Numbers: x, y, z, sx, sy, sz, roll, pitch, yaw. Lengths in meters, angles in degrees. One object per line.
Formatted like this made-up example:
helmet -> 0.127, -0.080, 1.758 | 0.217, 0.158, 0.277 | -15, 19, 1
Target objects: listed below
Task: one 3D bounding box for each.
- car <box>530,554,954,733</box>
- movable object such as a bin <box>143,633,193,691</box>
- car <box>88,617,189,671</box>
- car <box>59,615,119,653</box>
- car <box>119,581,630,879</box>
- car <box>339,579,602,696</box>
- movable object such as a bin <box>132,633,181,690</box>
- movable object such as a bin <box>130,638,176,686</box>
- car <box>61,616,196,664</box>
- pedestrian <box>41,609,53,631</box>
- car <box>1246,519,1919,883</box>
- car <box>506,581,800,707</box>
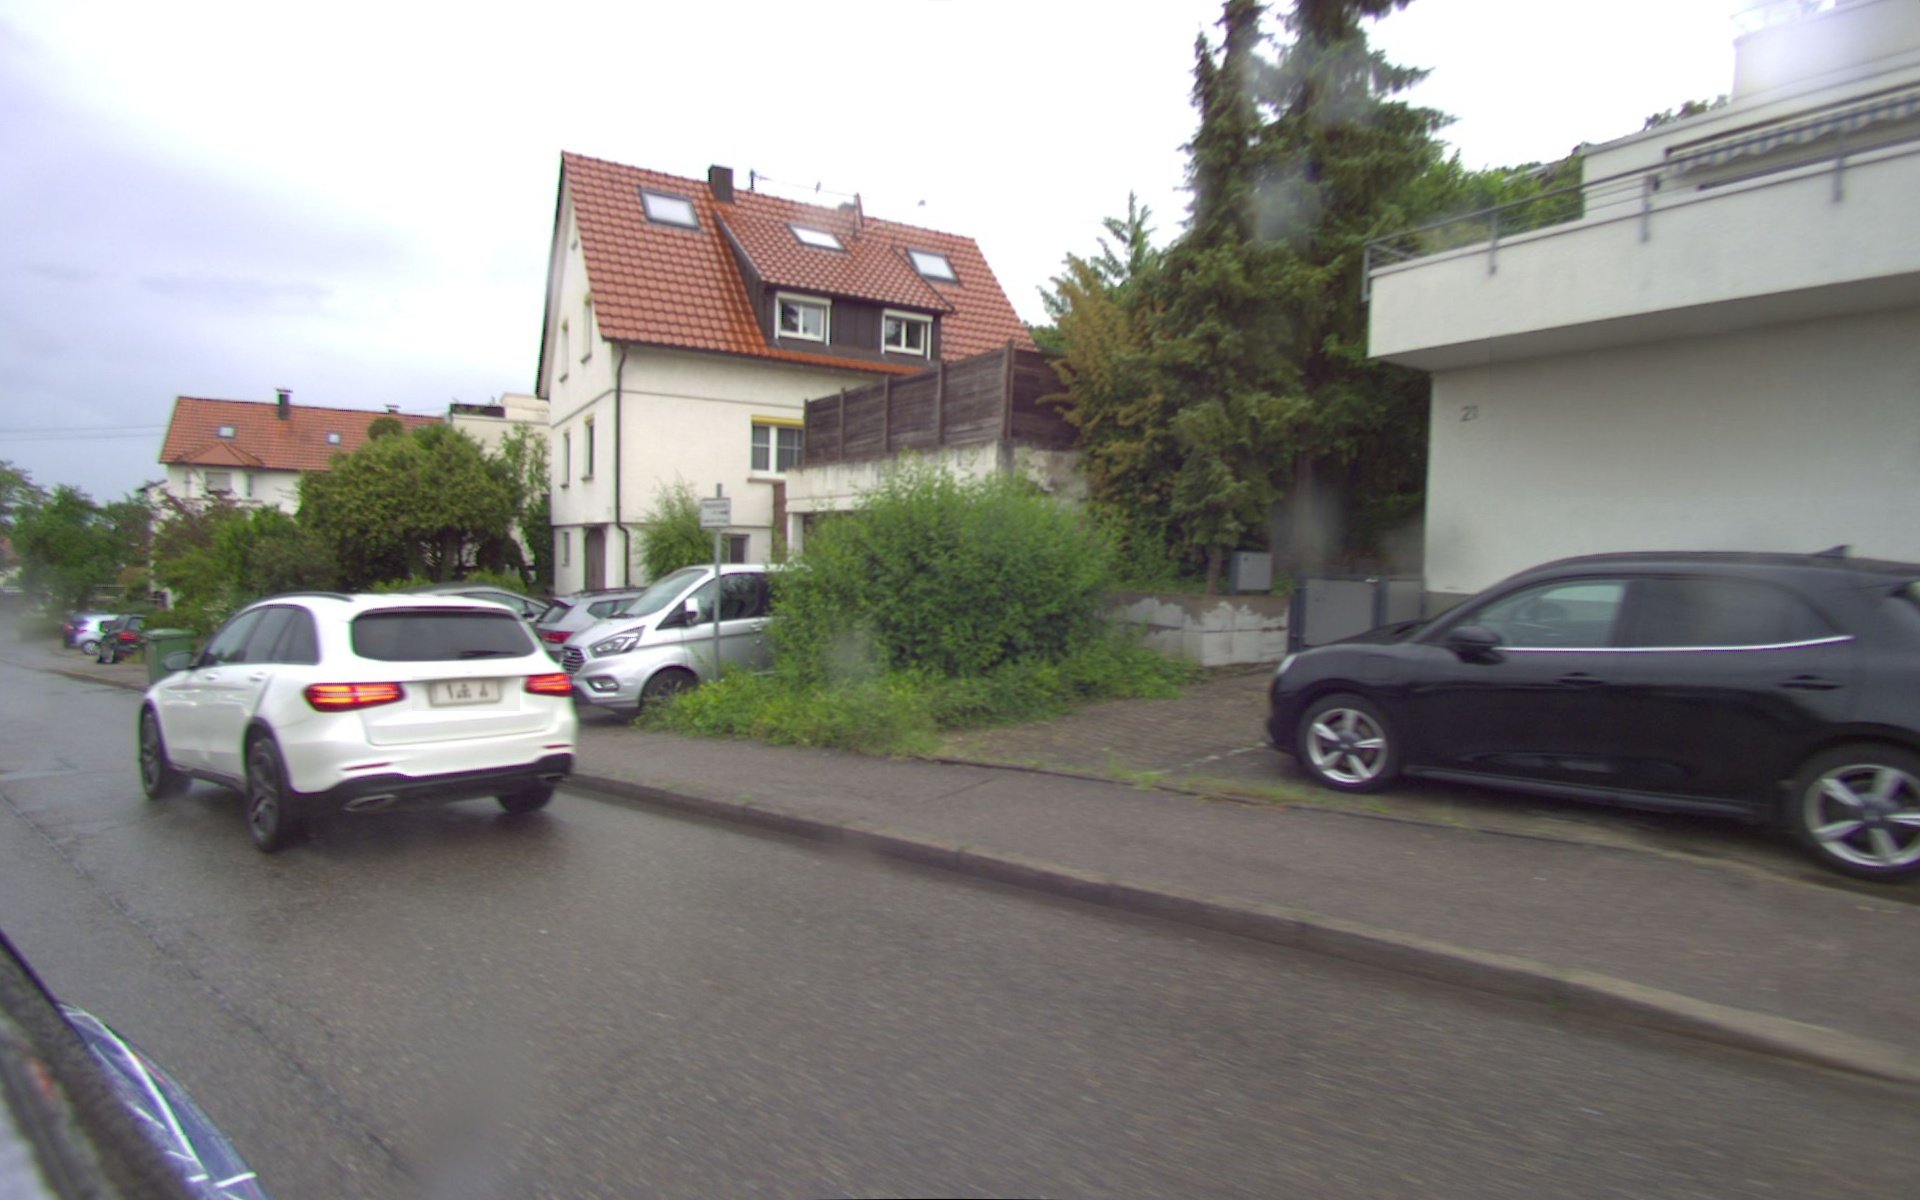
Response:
car -> -2.769, 0.503, 13.311 | 5.015, 1.959, 2.147 | 0, -1, -33
movable object such as a bin -> -15.348, 1.192, 19.612 | 0.697, 1.072, 0.597 | -1, 0, 37
car -> -26.237, 1.344, 32.283 | 4.415, 1.609, 1.784 | -1, -1, 41
car -> -36.236, 1.380, 42.070 | 1.745, 1.386, 4.253 | -4, 3, -42
car -> -4.583, 0.731, 7.633 | 4.423, 1.620, 1.887 | -1, 0, 39
car -> -8.954, 0.599, 18.634 | 4.002, 1.704, 1.898 | -5, 3, -36
movable object such as a bin -> -15.893, 1.200, 20.027 | 0.637, 1.072, 0.597 | -1, 0, 37
movable object such as a bin -> -16.370, 1.248, 20.528 | 0.563, 0.935, 0.597 | -1, 0, 37
car -> -32.198, 1.564, 39.337 | 3.775, 1.489, 1.808 | 7, -5, -34
pedestrian -> -70.579, 1.558, 78.260 | 0.647, 1.661, 0.734 | 0, -2, -37
car -> 4.110, 0.451, 6.147 | 4.198, 1.599, 1.671 | -1, 6, 44
car -> -4.763, 0.584, 15.849 | 3.999, 1.650, 1.899 | -2, 1, -33
